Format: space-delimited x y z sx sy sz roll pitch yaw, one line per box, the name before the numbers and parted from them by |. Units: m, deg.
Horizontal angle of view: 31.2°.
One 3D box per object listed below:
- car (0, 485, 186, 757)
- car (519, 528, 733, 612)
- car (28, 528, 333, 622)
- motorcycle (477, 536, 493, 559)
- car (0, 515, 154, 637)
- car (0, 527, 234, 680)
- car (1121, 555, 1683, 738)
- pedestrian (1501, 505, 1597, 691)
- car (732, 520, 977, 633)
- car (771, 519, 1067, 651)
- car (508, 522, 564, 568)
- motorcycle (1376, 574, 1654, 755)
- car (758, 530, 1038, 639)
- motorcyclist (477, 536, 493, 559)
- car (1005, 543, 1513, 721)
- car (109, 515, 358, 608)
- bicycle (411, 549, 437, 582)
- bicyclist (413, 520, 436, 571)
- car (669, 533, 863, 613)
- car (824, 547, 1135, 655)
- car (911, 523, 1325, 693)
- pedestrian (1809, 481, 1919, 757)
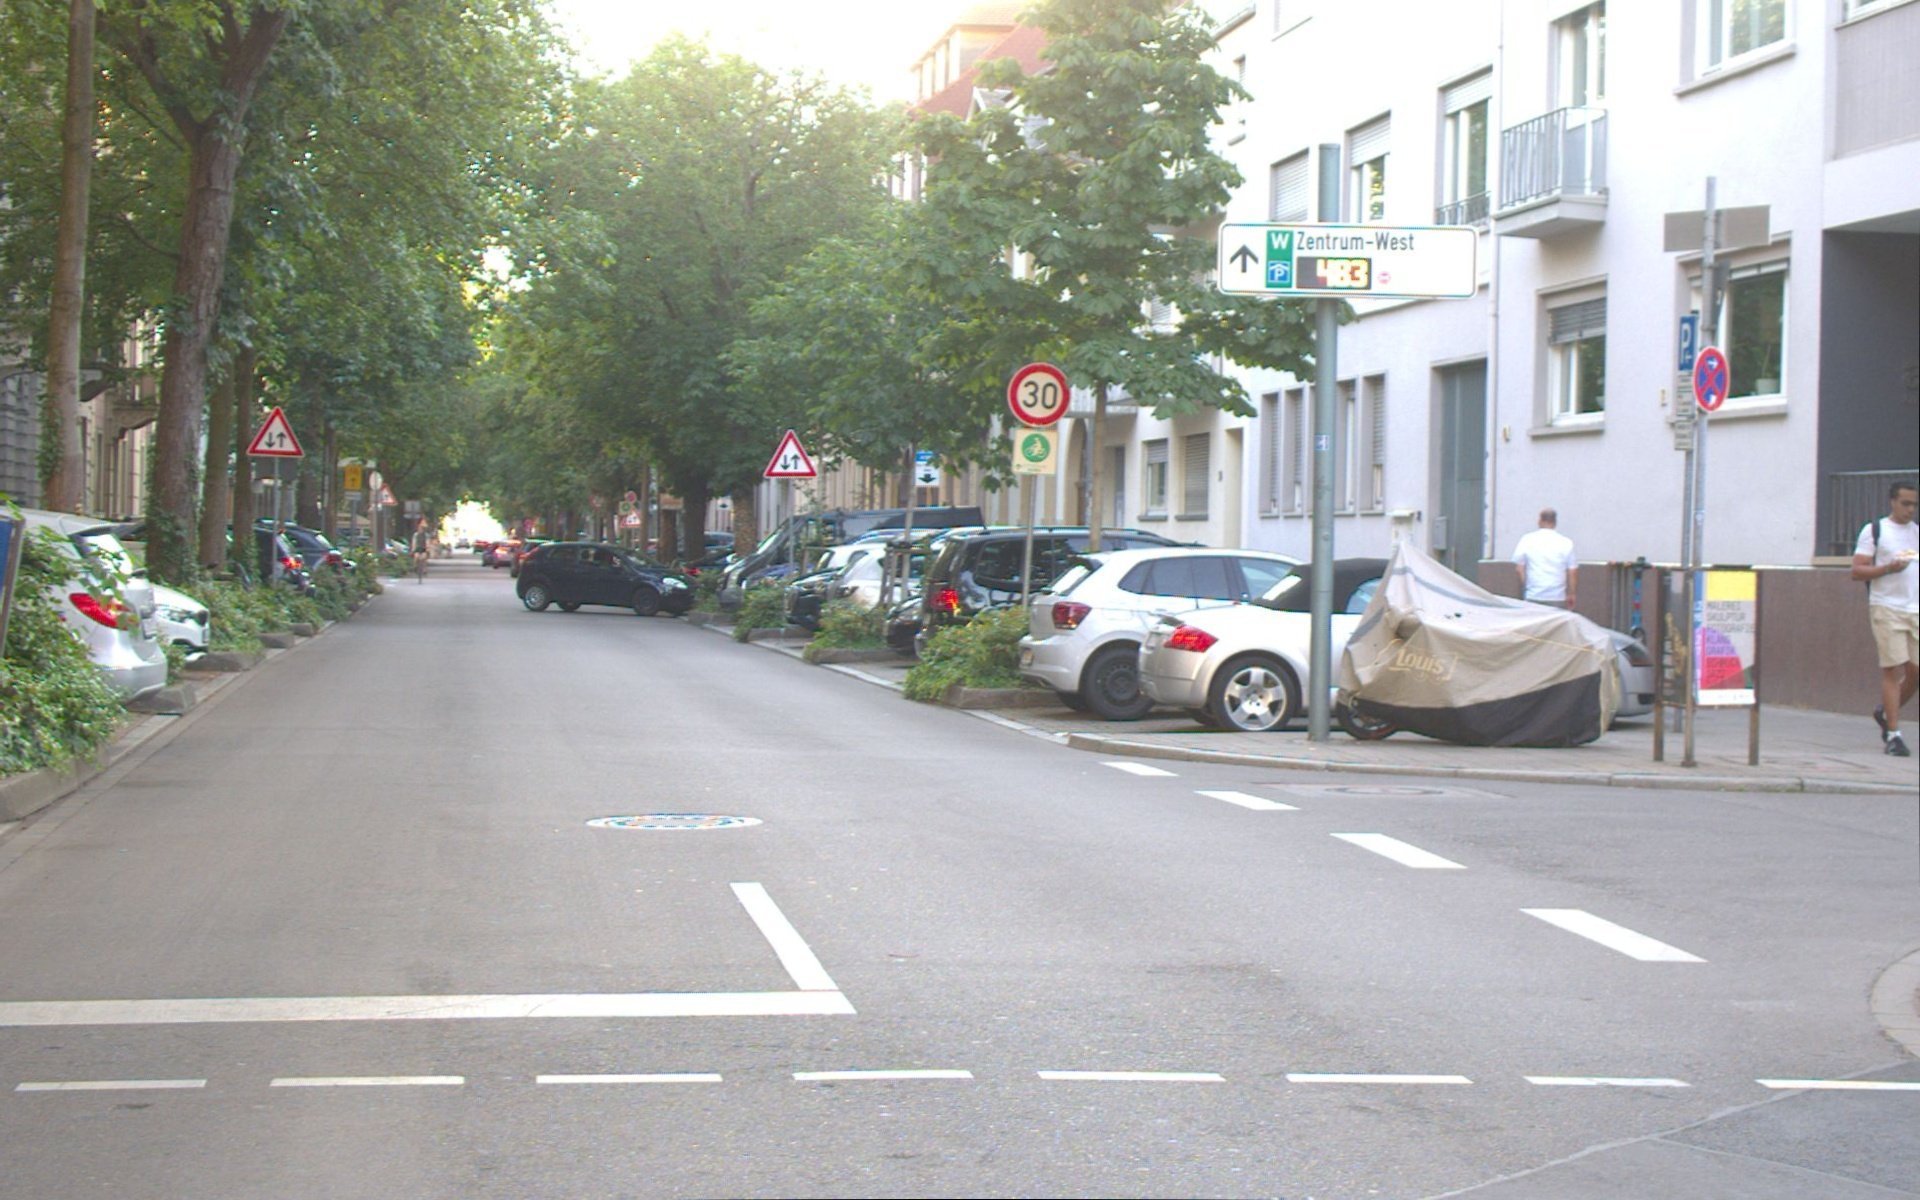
car | -7.378 0.093 22.029 4.547 1.683 1.833 1 1 -7
car | -6.938 -0.630 71.613 3.981 1.572 1.909 2 1 14
car | -12.299 -0.404 54.475 4.547 1.405 1.833 1 1 -7
motorcycle | -26.351 -2.914 190.772 0.818 1.232 2.026 2 1 -8
car | -12.970 -0.340 46.077 4.038 1.584 1.833 1 1 -7
car | -9.198 0.003 32.172 4.547 1.367 1.833 1 1 -7
car | 3.385 0.347 26.715 4.013 1.338 1.707 1 1 -7
pedestrian | 5.616 -0.027 32.835 0.703 1.746 0.699 2 1 -4
car | -1.834 -0.414 59.053 4.013 1.824 1.707 1 1 -8
car | -0.613 -0.219 48.986 4.013 1.809 1.707 1 1 -8
car | -15.370 -1.994 124.465 1.825 1.556 4.029 2 1 -9
motorcycle | 3.787 0.433 23.540 1.800 1.195 0.613 1 1 1
car | -0.954 -0.239 51.823 4.013 1.525 1.707 1 1 -8
motorcyclist | -26.337 -2.914 190.682 0.818 1.232 0.850 2 1 -8
car | 2.500 0.257 29.240 4.013 1.437 1.707 1 1 -8
car | -14.023 -0.750 66.582 4.547 1.686 1.833 1 1 -7
bicycle | -15.609 -1.013 100.156 0.571 0.946 1.745 2 0 -14
bicyclist | -15.631 -1.576 100.306 0.571 1.465 0.643 2 0 -14
car | -4.182 -0.587 73.870 4.013 1.596 1.707 1 1 -8
car | 0.241 0.004 46.777 4.013 1.404 1.707 1 1 -8
car | 1.600 0.070 35.581 4.013 1.684 1.707 1 1 -8
pedestrian | 6.362 0.120 23.429 0.767 1.835 0.944 2 1 -7
